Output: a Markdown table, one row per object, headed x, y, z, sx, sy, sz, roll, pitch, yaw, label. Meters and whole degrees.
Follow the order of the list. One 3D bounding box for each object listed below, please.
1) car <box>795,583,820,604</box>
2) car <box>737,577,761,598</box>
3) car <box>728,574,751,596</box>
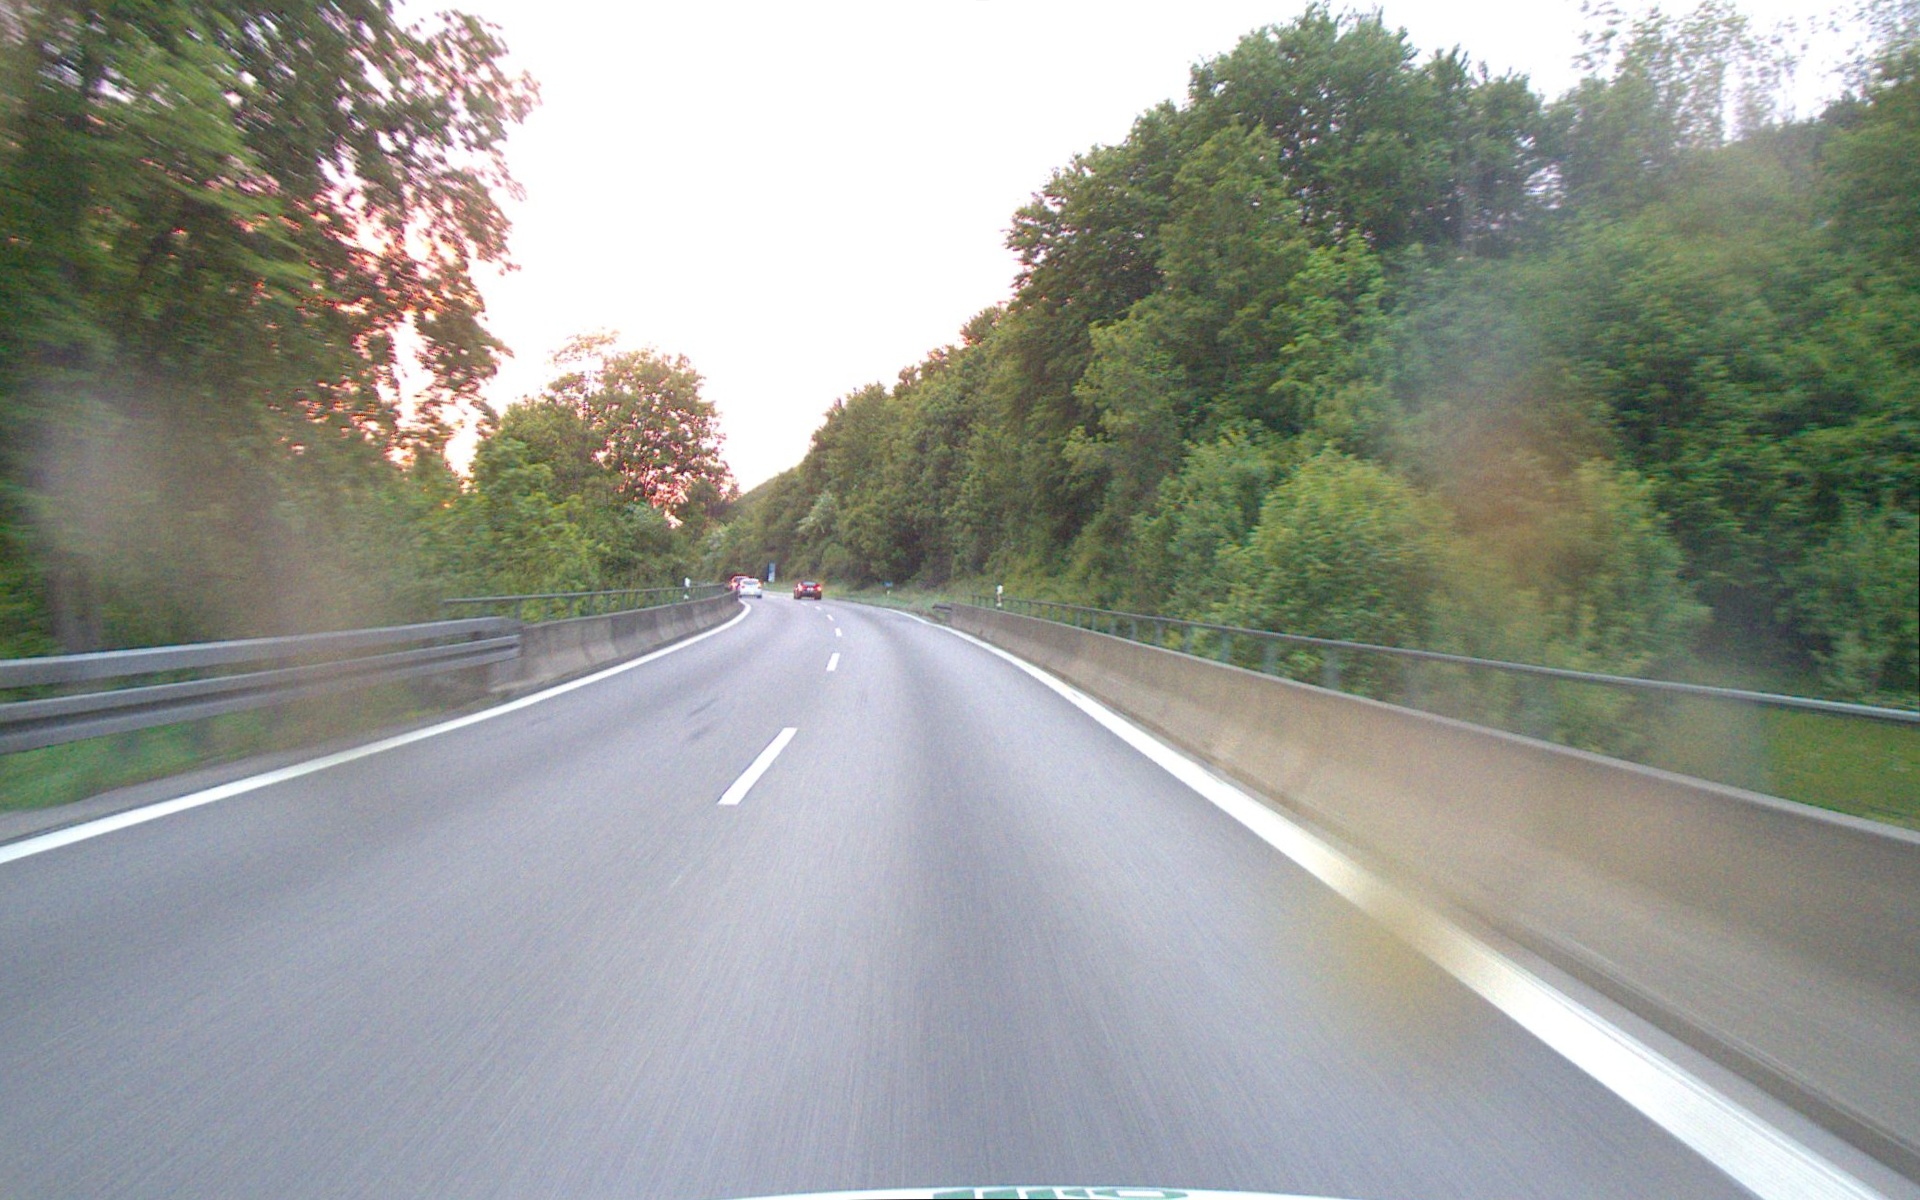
| x | y | z | sx | sy | sz | roll | pitch | yaw | label |
| --- | --- | --- | --- | --- | --- | --- | --- | --- | --- |
| -11.578 | -0.500 | 125.581 | 1.842 | 1.492 | 3.995 | 0 | 1 | -6 | car |
| -16.542 | -0.960 | 129.732 | 1.685 | 1.528 | 3.994 | 2 | -2 | -6 | car |
| -18.851 | -1.245 | 141.570 | 1.685 | 1.664 | 3.995 | -2 | -1 | -5 | car |
